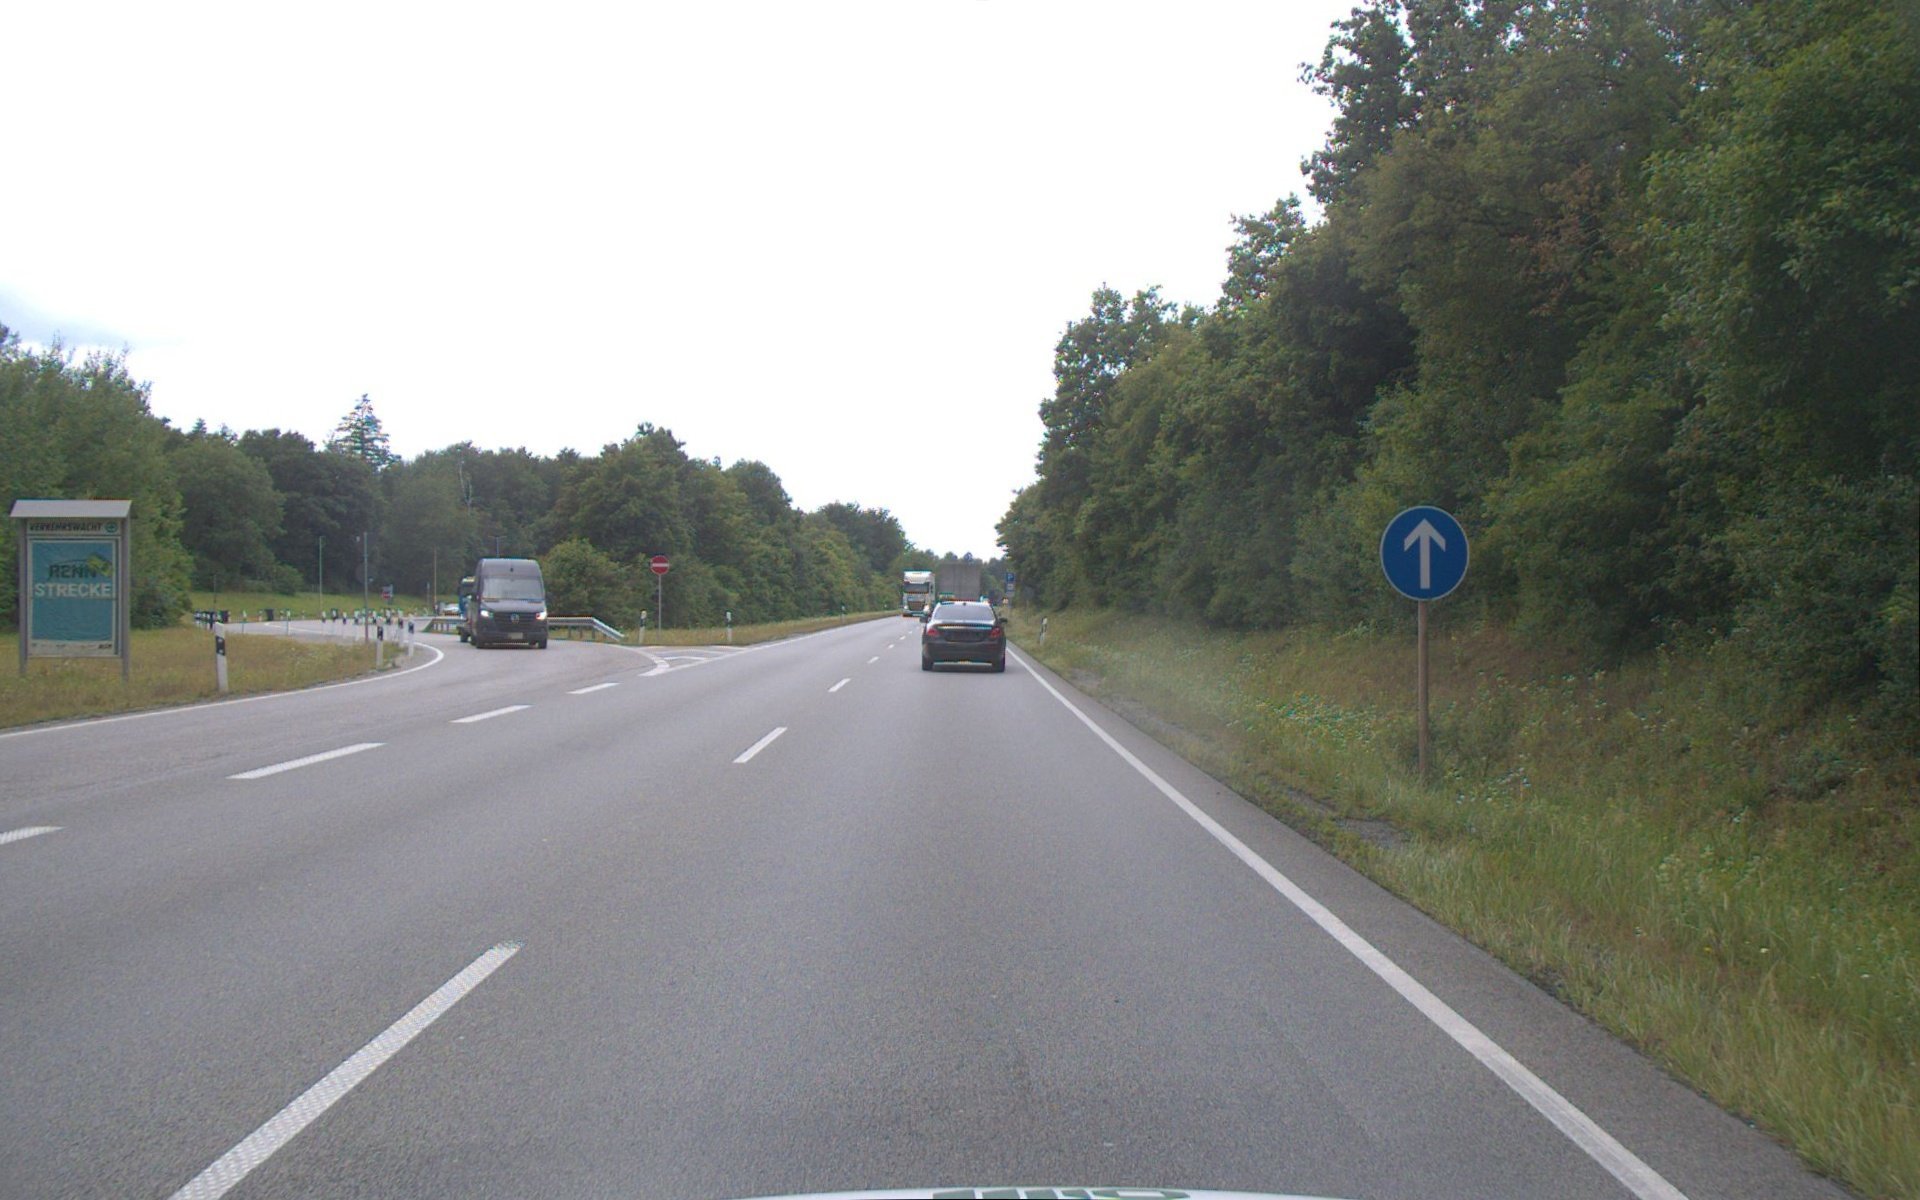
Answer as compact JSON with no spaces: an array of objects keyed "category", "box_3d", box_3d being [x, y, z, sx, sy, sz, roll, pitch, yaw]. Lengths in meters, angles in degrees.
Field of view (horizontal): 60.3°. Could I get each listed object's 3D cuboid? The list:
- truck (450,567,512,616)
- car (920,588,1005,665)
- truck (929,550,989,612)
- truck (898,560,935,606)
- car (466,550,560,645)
[{"category":"truck","box_3d":[-31.200,-0.546,107.870,1.953,3.065,7.226,1,0,-1]},{"category":"car","box_3d":[0.022,0.563,36.635,1.755,1.579,3.999,1,0,-1]},{"category":"truck","box_3d":[0.021,-1.113,105.615,3.212,3.675,11.403,1,0,3]},{"category":"truck","box_3d":[-4.033,-1.502,154.570,3.124,4.133,9.575,1,0,0]},{"category":"car","box_3d":[-13.301,-0.074,49.585,2.216,2.574,7.142,-2,0,-12]}]
